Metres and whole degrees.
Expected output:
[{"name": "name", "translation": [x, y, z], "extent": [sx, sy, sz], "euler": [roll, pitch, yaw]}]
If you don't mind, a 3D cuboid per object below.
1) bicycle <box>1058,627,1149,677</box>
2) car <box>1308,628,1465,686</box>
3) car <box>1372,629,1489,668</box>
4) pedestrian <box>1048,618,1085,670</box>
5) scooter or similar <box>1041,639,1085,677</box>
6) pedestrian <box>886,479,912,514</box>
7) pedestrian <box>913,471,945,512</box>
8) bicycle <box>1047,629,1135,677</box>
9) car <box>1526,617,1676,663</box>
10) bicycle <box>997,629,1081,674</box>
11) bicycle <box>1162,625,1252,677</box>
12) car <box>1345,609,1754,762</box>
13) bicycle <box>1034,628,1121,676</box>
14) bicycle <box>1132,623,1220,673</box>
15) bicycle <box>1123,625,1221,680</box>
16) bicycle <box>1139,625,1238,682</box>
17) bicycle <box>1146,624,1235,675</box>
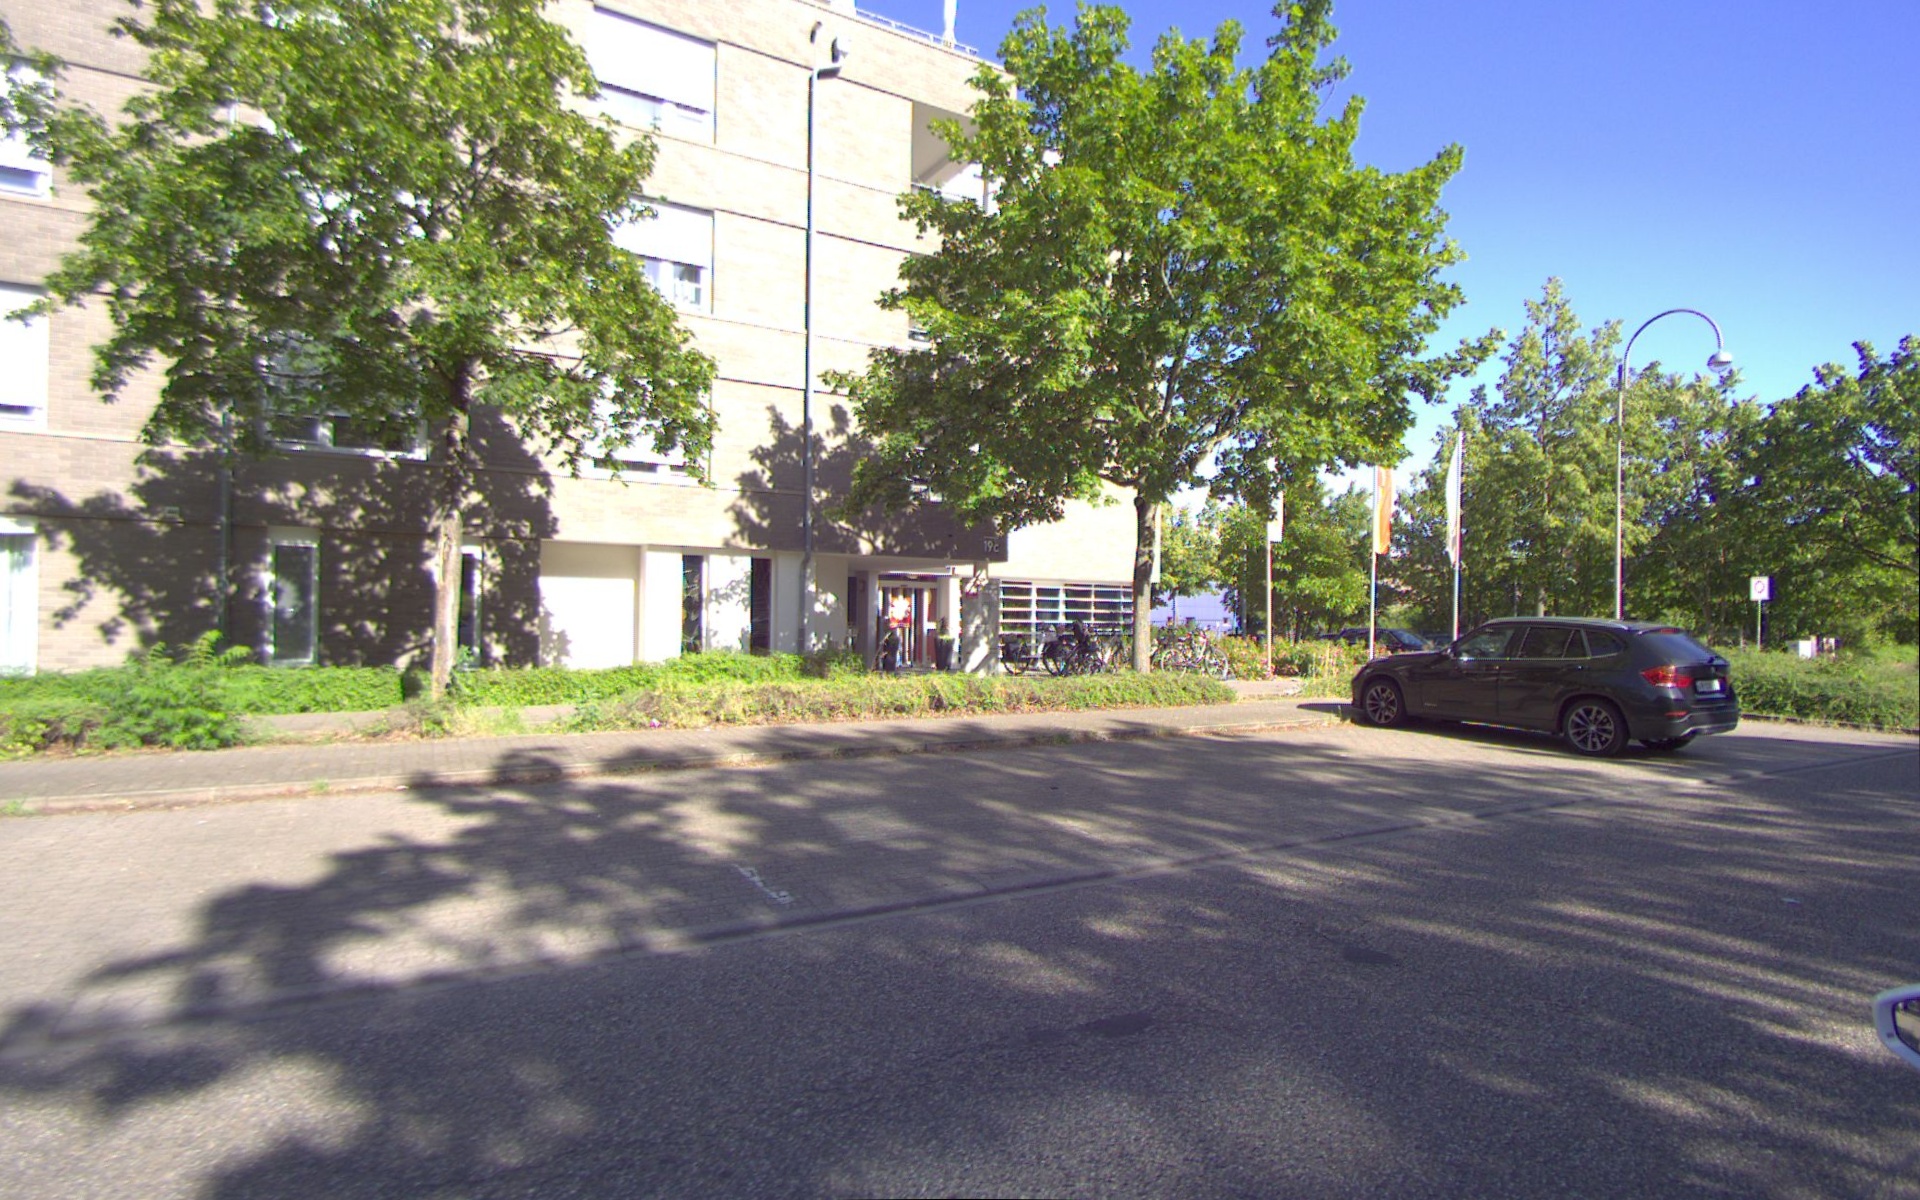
[{"name": "bicycle", "translation": [3.155, 1.129, 21.959], "extent": [2.167, 1.061, 0.435], "euler": [1, 0, -30]}, {"name": "car", "translation": [13.135, 1.733, 31.212], "extent": [1.870, 1.641, 4.307], "euler": [1, -3, -28]}, {"name": "car", "translation": [19.129, 1.953, 41.003], "extent": [1.809, 1.491, 4.037], "euler": [1, -2, -29]}, {"name": "pedestrian", "translation": [2.822, 1.153, 26.568], "extent": [0.662, 1.352, 0.739], "euler": [1, -2, -29]}, {"name": "scooter or similar", "translation": [2.732, 1.533, 26.677], "extent": [0.857, 0.967, 0.800], "euler": [1, 0, -28]}, {"name": "pedestrian", "translation": [-1.356, -2.296, 22.336], "extent": [0.424, 0.695, 0.412], "euler": [1, 0, -39]}, {"name": "pedestrian", "translation": [-0.670, -2.351, 21.765], "extent": [0.360, 0.809, 0.676], "euler": [1, 0, -37]}, {"name": "bicycle", "translation": [2.988, 1.194, 22.810], "extent": [2.167, 1.061, 0.435], "euler": [1, 0, -30]}, {"name": "car", "translation": [21.770, 1.384, 34.300], "extent": [1.605, 1.470, 4.061], "euler": [1, -3, -28]}, {"name": "bicycle", "translation": [1.946, 1.249, 24.525], "extent": [2.167, 1.061, 0.435], "euler": [1, 0, -30]}, {"name": "bicycle", "translation": [5.268, 1.082, 21.367], "extent": [2.167, 1.061, 0.435], "euler": [1, 0, -30]}, {"name": "car", "translation": [7.178, 0.930, 12.718], "extent": [1.750, 1.540, 4.174], "euler": [1, 0, -29]}, {"name": "bicycle", "translation": [2.728, 1.203, 23.276], "extent": [2.167, 1.061, 0.435], "euler": [1, 0, -30]}, {"name": "bicycle", "translation": [4.799, 1.057, 22.261], "extent": [2.167, 1.061, 0.435], "euler": [1, 0, -30]}, {"name": "bicycle", "translation": [4.260, 1.041, 20.097], "extent": [2.167, 1.061, 0.435], "euler": [1, 0, -30]}, {"name": "bicycle", "translation": [4.501, 1.042, 19.682], "extent": [2.167, 1.061, 0.435], "euler": [1, 0, -30]}, {"name": "bicycle", "translation": [5.024, 1.068, 21.823], "extent": [2.167, 1.061, 0.435], "euler": [1, 0, -30]}]
